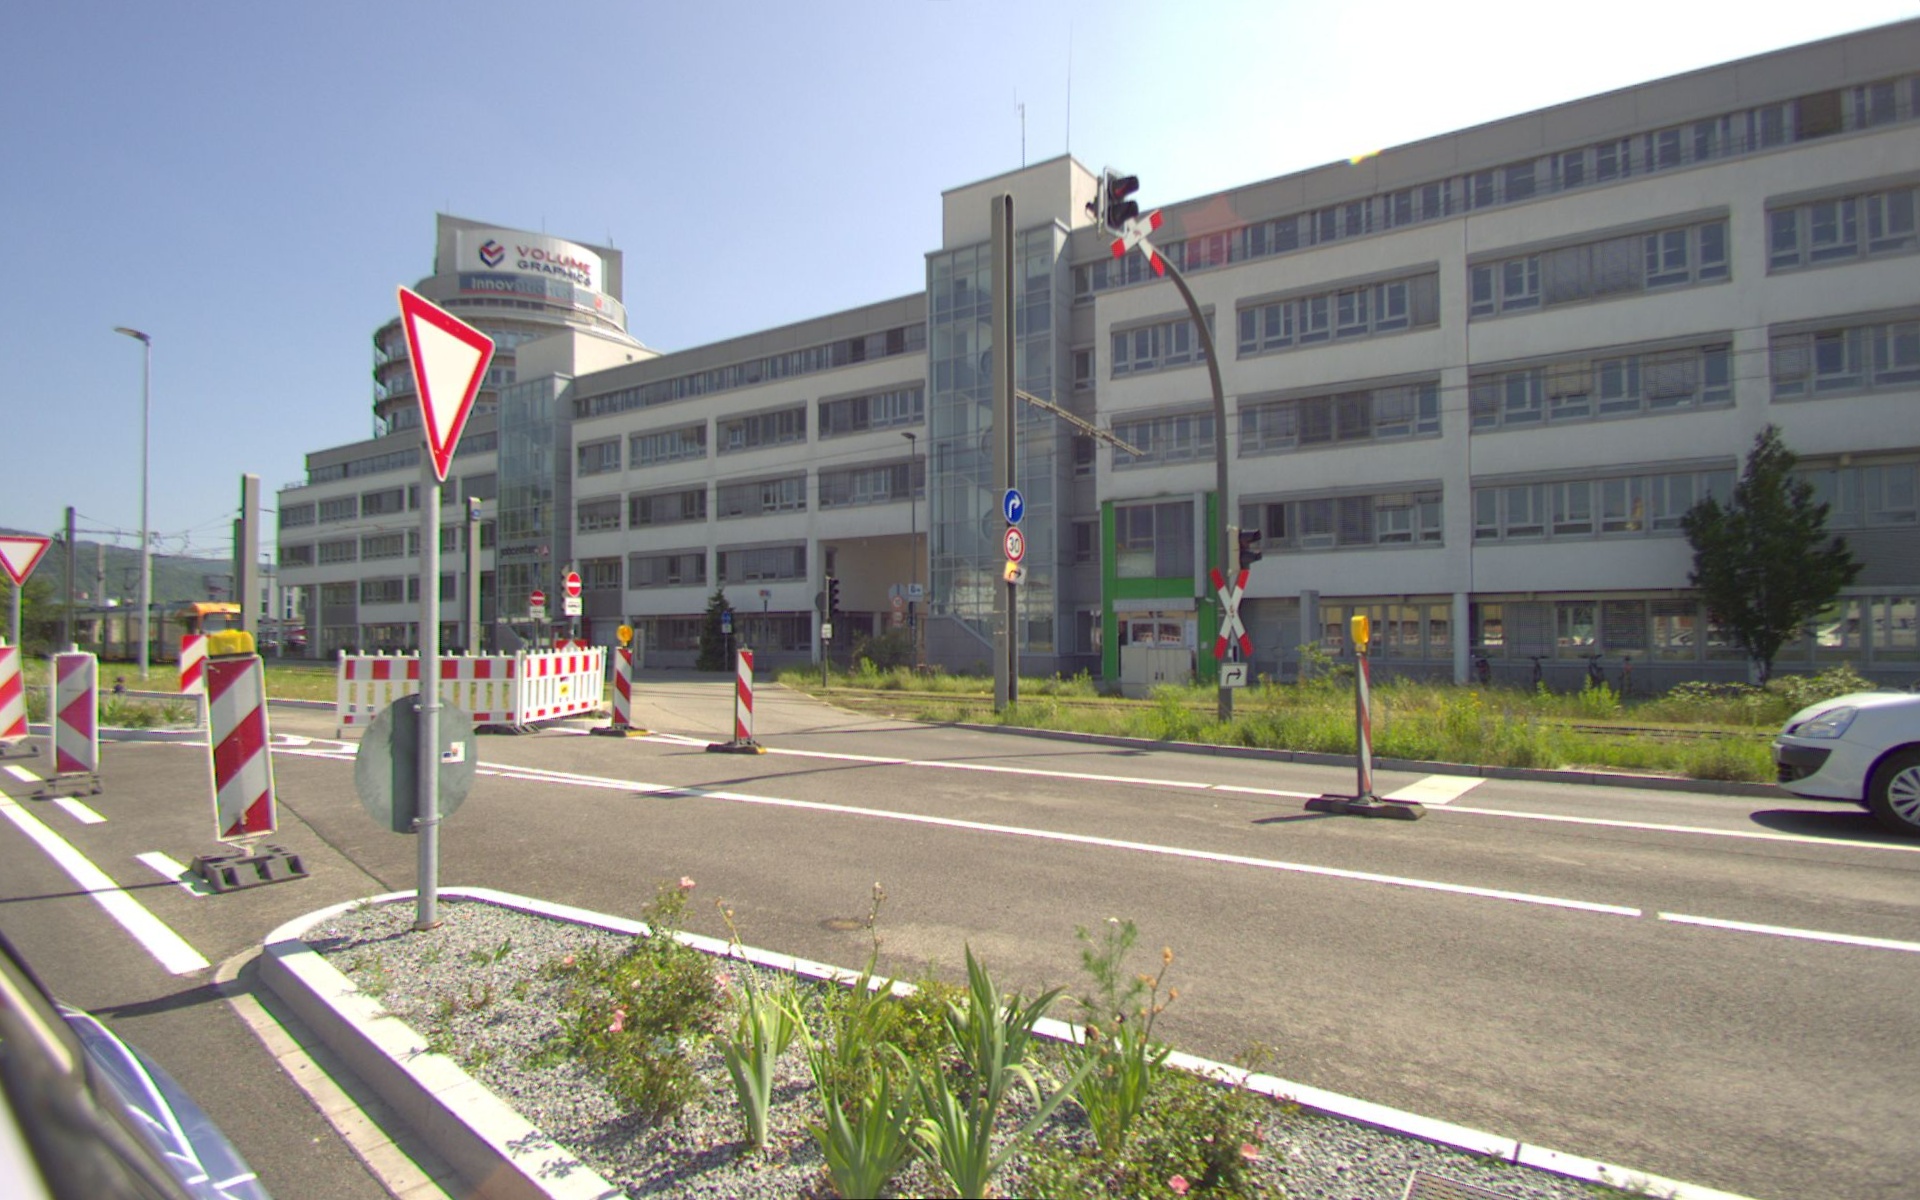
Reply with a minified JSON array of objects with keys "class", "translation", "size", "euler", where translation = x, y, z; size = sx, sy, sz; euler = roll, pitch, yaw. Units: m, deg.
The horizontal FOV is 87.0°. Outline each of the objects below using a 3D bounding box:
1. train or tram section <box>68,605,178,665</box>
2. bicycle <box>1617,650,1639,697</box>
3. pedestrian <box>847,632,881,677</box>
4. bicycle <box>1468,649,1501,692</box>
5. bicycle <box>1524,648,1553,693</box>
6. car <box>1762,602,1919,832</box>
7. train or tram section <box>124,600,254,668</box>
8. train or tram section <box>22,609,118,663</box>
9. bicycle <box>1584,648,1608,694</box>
[{"class":"train or tram section","translation":[-52.524,2.162,63.347],"size":[11.758,3.477,2.601],"euler":[-2,-1,37]},{"class":"bicycle","translation":[18.767,2.036,28.428],"size":[0.437,1.198,1.632],"euler":[-2,-1,35]},{"class":"pedestrian","translation":[-4.065,2.309,42.796],"size":[1.106,1.840,0.759],"euler":[-3,-1,34]},{"class":"bicycle","translation":[15.866,2.116,30.593],"size":[0.521,1.198,1.630],"euler":[-2,-1,40]},{"class":"bicycle","translation":[17.117,2.069,29.929],"size":[0.438,1.198,1.630],"euler":[-2,-1,40]},{"class":"car","translation":[7.991,0.808,6.764],"size":[3.968,1.553,1.567],"euler":[-2,-5,35]},{"class":"train or tram section","translation":[-43.089,1.864,56.341],"size":[11.758,3.477,2.601],"euler":[-2,-1,37]},{"class":"train or tram section","translation":[-61.974,2.463,70.348],"size":[11.758,3.477,2.601],"euler":[-2,-1,37]},{"class":"bicycle","translation":[18.208,2.026,28.952],"size":[0.437,1.198,1.632],"euler":[-2,-1,36]}]
